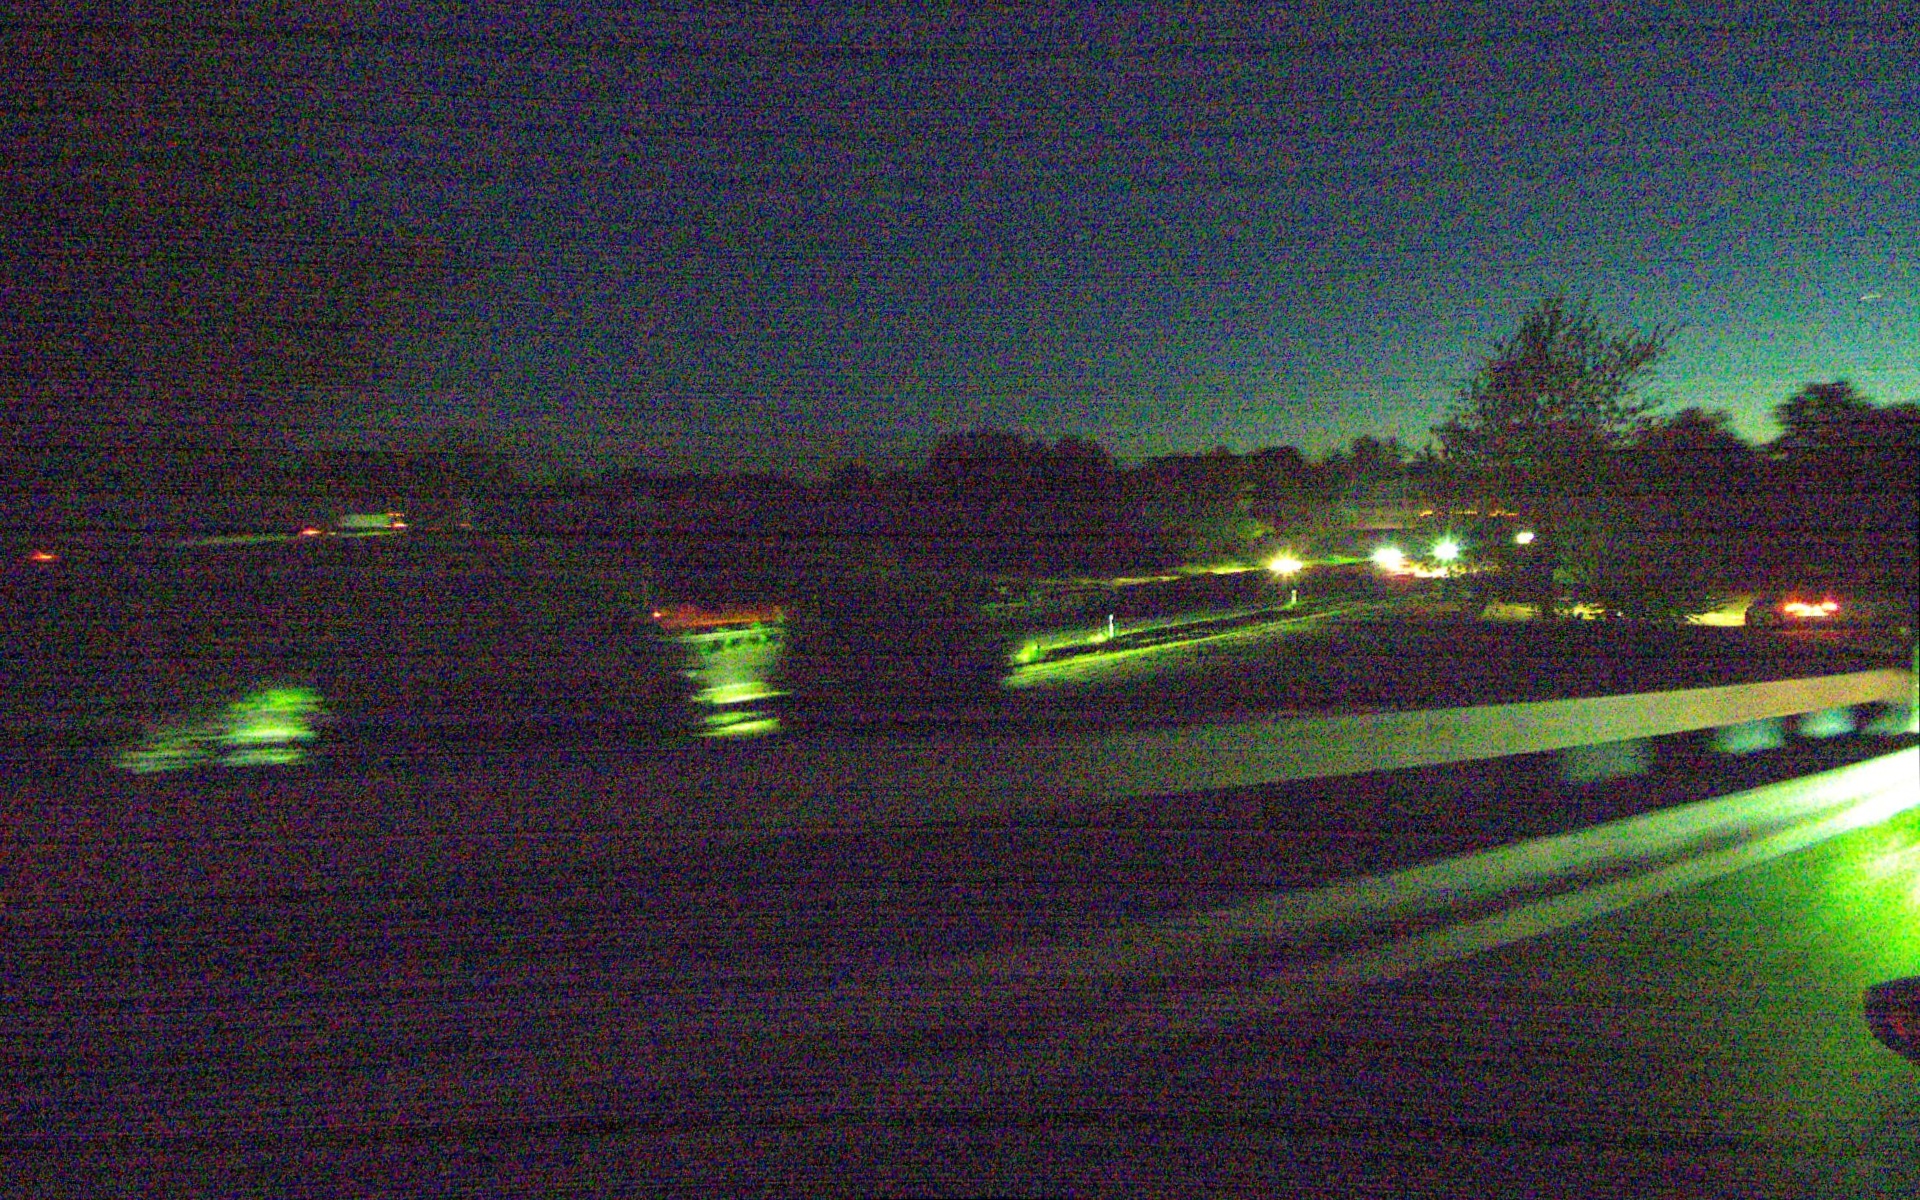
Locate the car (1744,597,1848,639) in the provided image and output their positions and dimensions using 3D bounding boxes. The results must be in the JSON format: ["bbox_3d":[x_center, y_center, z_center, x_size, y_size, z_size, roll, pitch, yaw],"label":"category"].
[{"bbox_3d":[35.363,0.746,42.627,1.919,1.558,4.241,-2,1,18],"label":"car"}]

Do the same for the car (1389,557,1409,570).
[{"bbox_3d":[67.149,-5.587,153.472,1.789,1.912,3.981,0,3,39],"label":"car"}]
